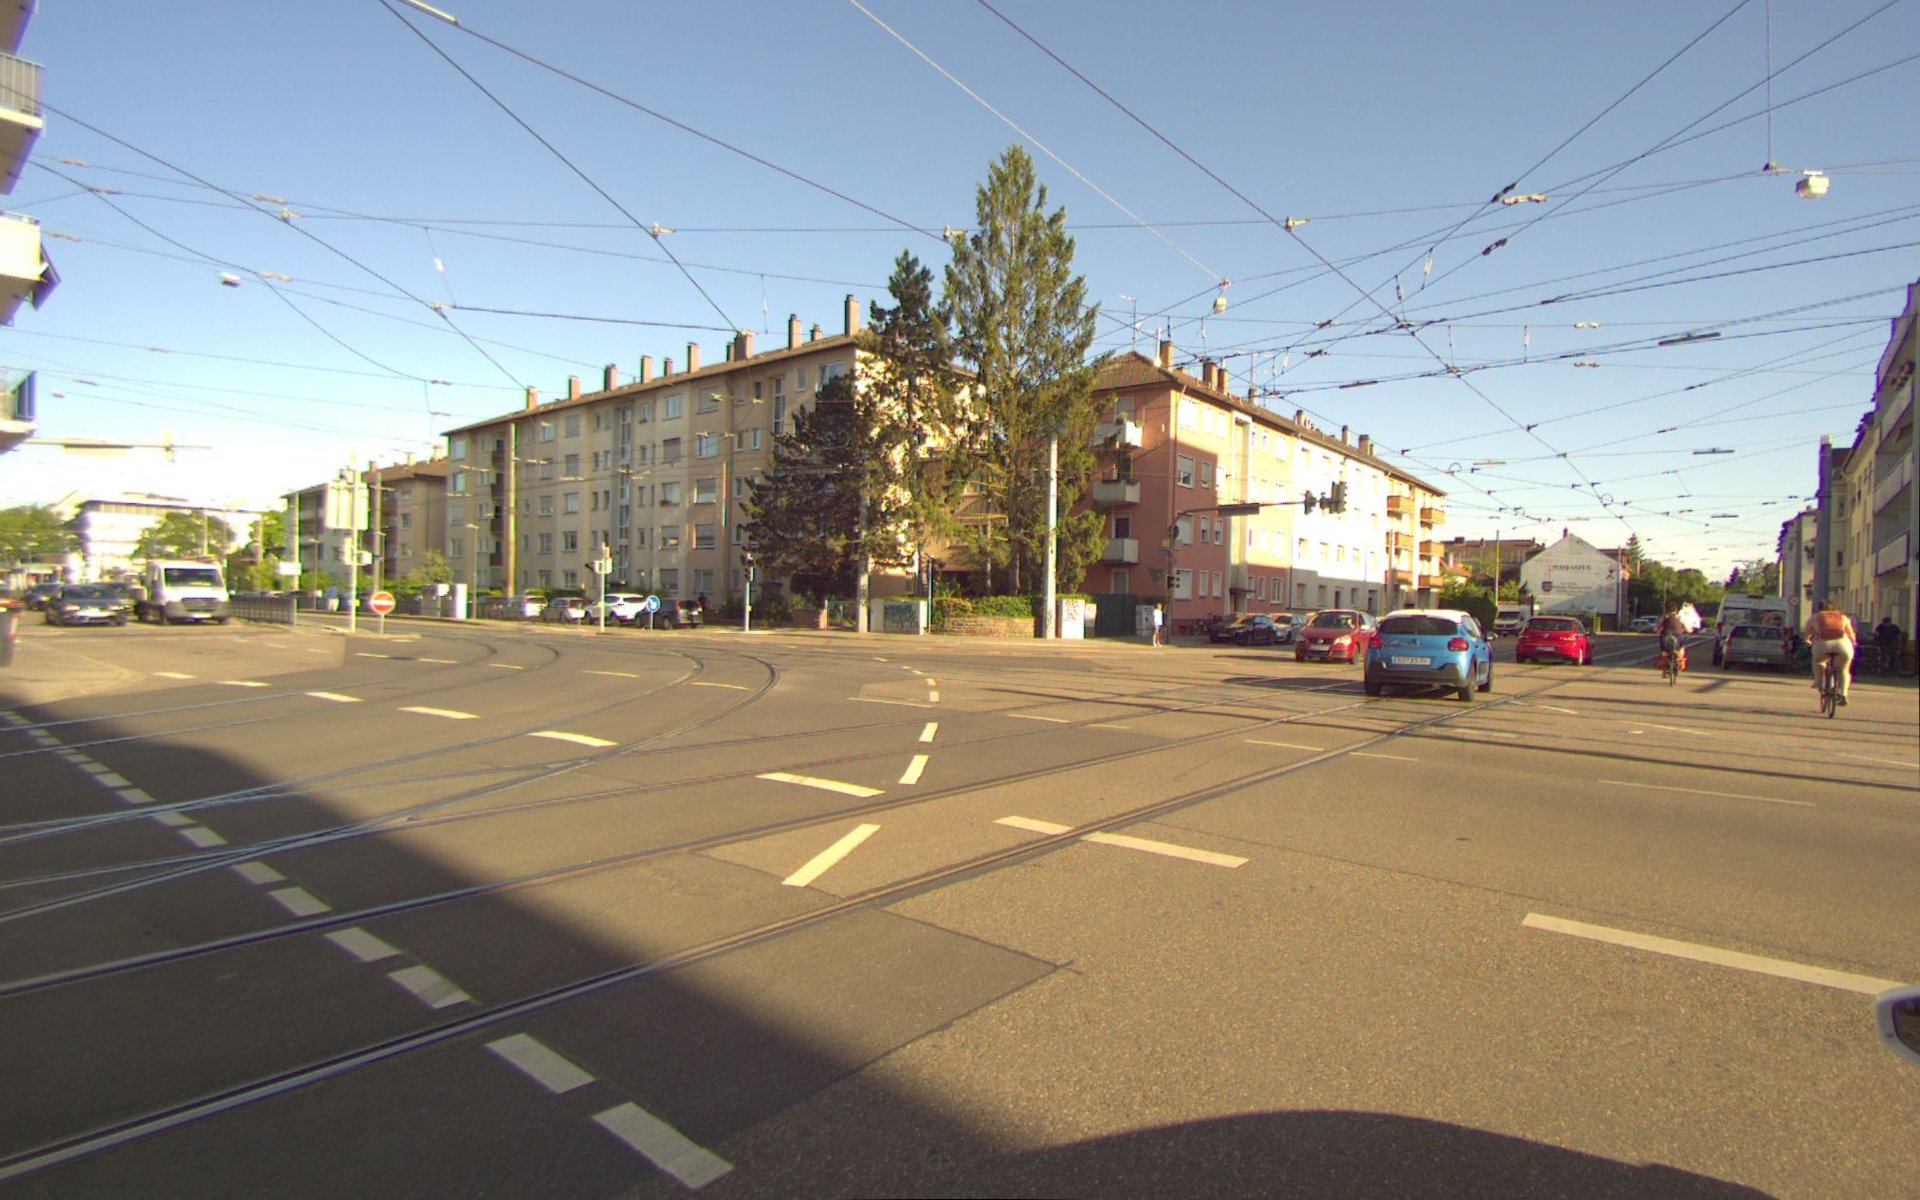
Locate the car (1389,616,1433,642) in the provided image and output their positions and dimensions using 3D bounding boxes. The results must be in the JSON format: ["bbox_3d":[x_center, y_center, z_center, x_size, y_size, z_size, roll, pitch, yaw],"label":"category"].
[{"bbox_3d":[30.807,1.946,68.501,1.845,1.597,3.985,4,1,37],"label":"car"}]

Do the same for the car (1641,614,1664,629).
[{"bbox_3d":[92.657,2.880,134.417,2.049,1.786,5.015,4,1,39],"label":"car"}]

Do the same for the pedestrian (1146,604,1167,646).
[{"bbox_3d":[7.727,0.976,39.559,0.510,1.589,0.571,4,2,39],"label":"pedestrian"}]

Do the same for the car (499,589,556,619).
[{"bbox_3d":[-26.158,0.248,60.697,3.732,1.578,1.654,4,1,40],"label":"car"}]

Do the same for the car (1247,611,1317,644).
[{"bbox_3d":[16.027,1.362,49.872,1.881,1.456,4.083,4,1,40],"label":"car"}]

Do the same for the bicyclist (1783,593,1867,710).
[{"bbox_3d":[13.381,0.779,15.538,0.929,1.714,0.803,2,2,-43],"label":"bicyclist"}]

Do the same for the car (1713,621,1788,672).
[{"bbox_3d":[25.357,1.454,32.331,1.636,1.450,3.875,4,1,36],"label":"car"}]

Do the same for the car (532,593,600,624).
[{"bbox_3d":[-22.348,0.494,56.947,3.971,1.498,1.826,4,1,39],"label":"car"}]

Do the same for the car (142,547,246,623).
[{"bbox_3d":[-28.871,-0.600,37.804,4.786,2.551,2.329,4,1,43],"label":"car"}]

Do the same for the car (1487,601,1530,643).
[{"bbox_3d":[45.319,1.820,82.945,2.389,3.184,3.473,4,1,39],"label":"car"}]

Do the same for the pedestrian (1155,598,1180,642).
[{"bbox_3d":[8.587,0.821,41.617,0.769,1.745,0.704,3,1,-4],"label":"pedestrian"}]

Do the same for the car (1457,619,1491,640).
[{"bbox_3d":[43.499,2.455,84.920,1.845,1.597,3.985,4,1,37],"label":"car"}]

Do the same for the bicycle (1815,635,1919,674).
[{"bbox_3d":[26.090,1.550,28.903,2.223,1.015,0.853,0,-1,38],"label":"bicycle"}]

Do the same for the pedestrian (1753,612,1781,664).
[{"bbox_3d":[27.072,1.267,33.691,0.605,1.676,0.669,4,1,37],"label":"pedestrian"}]

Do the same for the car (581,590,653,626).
[{"bbox_3d":[-18.235,0.425,53.367,3.971,1.619,1.765,4,1,39],"label":"car"}]

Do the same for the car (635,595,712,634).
[{"bbox_3d":[-14.265,0.711,49.911,4.015,1.650,1.861,5,2,43],"label":"car"}]

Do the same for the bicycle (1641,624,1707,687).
[{"bbox_3d":[15.611,1.194,21.928,0.929,1.240,2.084,4,1,41],"label":"bicycle"}]

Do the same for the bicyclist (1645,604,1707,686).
[{"bbox_3d":[15.754,0.974,22.089,0.929,1.695,1.074,4,1,41],"label":"bicyclist"}]

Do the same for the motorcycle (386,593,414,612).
[{"bbox_3d":[-34.372,0.164,61.639,1.912,1.061,0.854,4,1,39],"label":"motorcycle"}]

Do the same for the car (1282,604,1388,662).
[{"bbox_3d":[10.618,0.911,28.291,1.756,1.505,3.814,1,-1,37],"label":"car"}]

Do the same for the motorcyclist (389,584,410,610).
[{"bbox_3d":[-34.410,-0.186,61.683,0.718,1.508,0.854,4,1,39],"label":"motorcyclist"}]

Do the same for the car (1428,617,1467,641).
[{"bbox_3d":[37.038,2.200,76.288,1.845,1.597,3.985,4,1,37],"label":"car"}]

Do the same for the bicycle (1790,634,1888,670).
[{"bbox_3d":[27.232,1.593,31.185,2.223,1.015,0.853,0,-1,38],"label":"bicycle"}]

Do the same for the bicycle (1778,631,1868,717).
[{"bbox_3d":[13.448,1.119,15.634,2.050,1.197,0.803,2,1,-44],"label":"bicycle"}]

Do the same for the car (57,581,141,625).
[{"bbox_3d":[-30.549,0.107,35.614,3.874,1.432,1.873,1,-1,44],"label":"car"}]

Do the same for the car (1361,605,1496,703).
[{"bbox_3d":[8.370,0.883,17.776,1.712,1.472,3.654,3,0,32],"label":"car"}]

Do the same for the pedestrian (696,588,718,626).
[{"bbox_3d":[-13.054,0.370,51.862,0.770,1.911,0.696,4,2,44],"label":"pedestrian"}]

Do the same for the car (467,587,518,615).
[{"bbox_3d":[-29.583,0.042,63.559,3.591,1.546,1.553,4,1,41],"label":"car"}]

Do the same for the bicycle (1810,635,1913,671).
[{"bbox_3d":[26.893,1.564,30.028,2.223,1.015,0.853,0,-1,38],"label":"bicycle"}]

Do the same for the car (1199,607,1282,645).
[{"bbox_3d":[12.817,1.208,45.750,2.126,1.450,4.425,4,-1,37],"label":"car"}]

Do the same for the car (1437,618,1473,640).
[{"bbox_3d":[39.536,2.290,80.144,1.845,1.597,3.985,4,1,37],"label":"car"}]

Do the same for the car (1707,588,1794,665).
[{"bbox_3d":[28.435,0.945,36.257,2.236,2.515,4.989,3,1,37],"label":"car"}]

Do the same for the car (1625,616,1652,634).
[{"bbox_3d":[80.800,2.943,119.552,2.191,1.957,4.928,4,1,39],"label":"car"}]

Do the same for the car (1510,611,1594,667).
[{"bbox_3d":[18.600,1.172,31.493,1.762,1.542,3.747,4,2,37],"label":"car"}]
